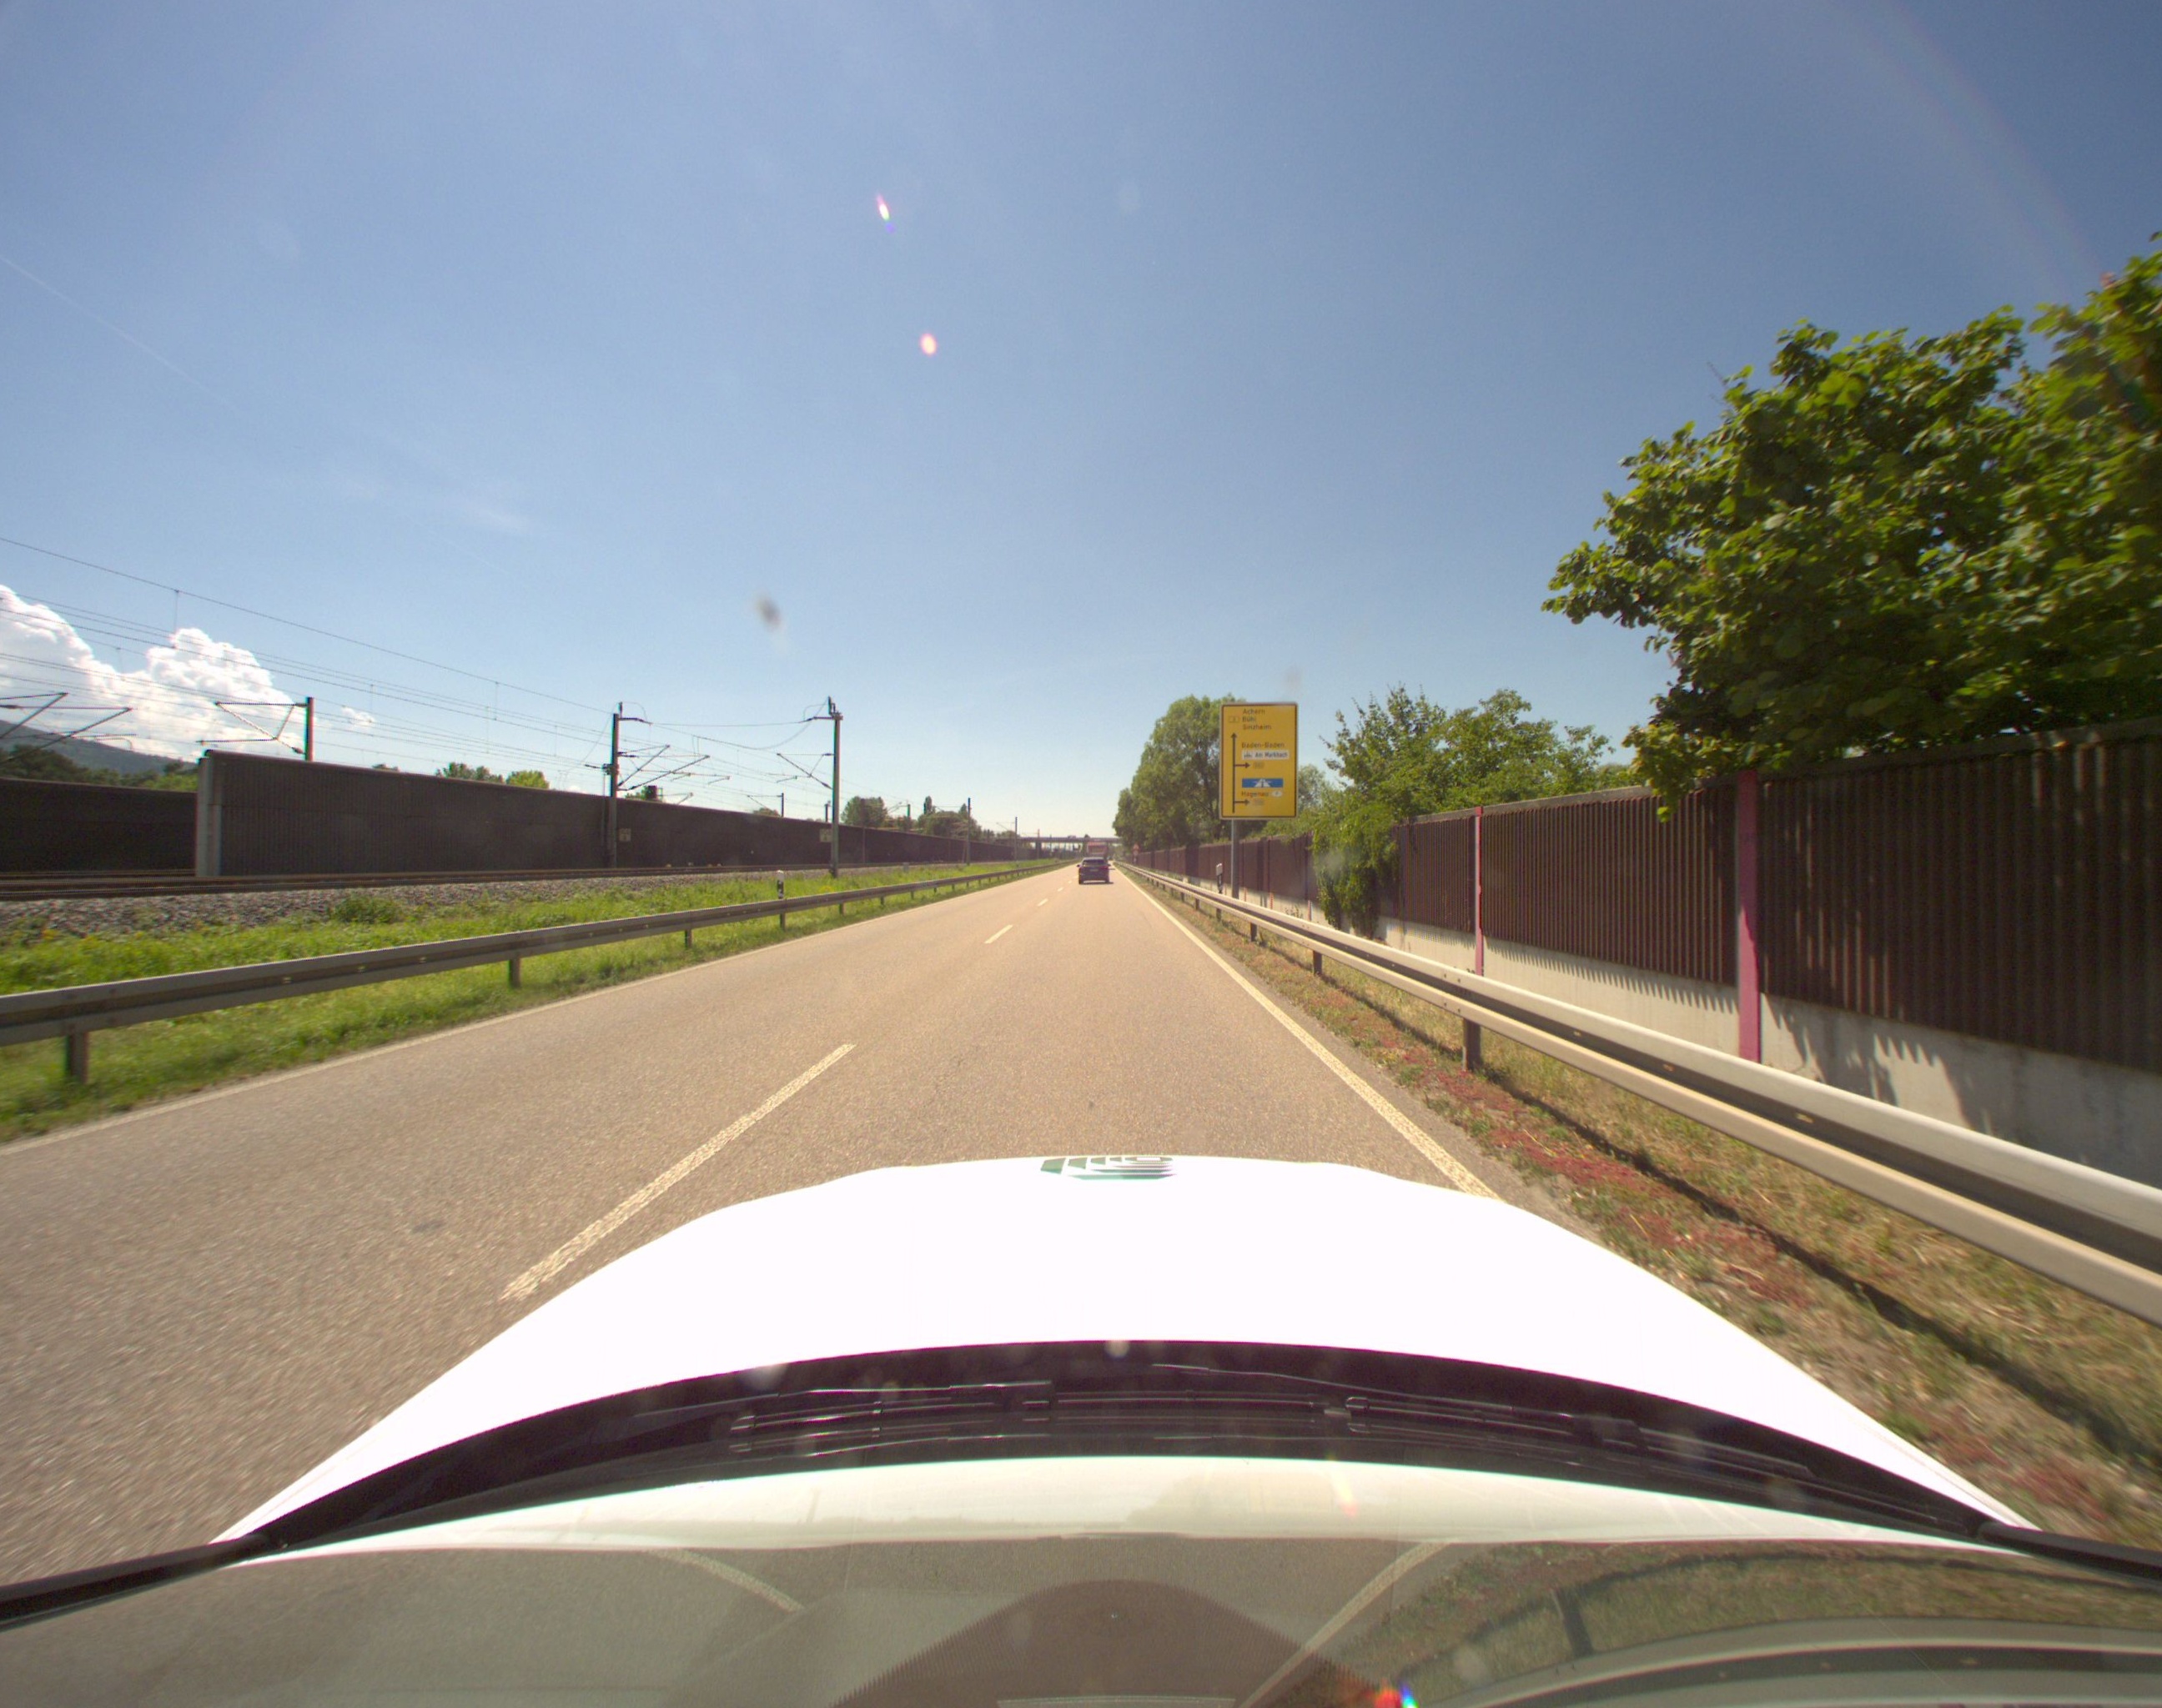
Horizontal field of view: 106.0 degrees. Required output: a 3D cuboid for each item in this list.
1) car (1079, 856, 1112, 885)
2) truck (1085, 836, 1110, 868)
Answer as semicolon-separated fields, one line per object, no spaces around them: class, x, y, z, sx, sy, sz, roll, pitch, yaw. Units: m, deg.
car;0.824;0.933;48.662;1.839;1.623;4.225;-1;0;0
truck;2.128;-0.181;102.497;2.823;3.821;11.888;-1;0;2
